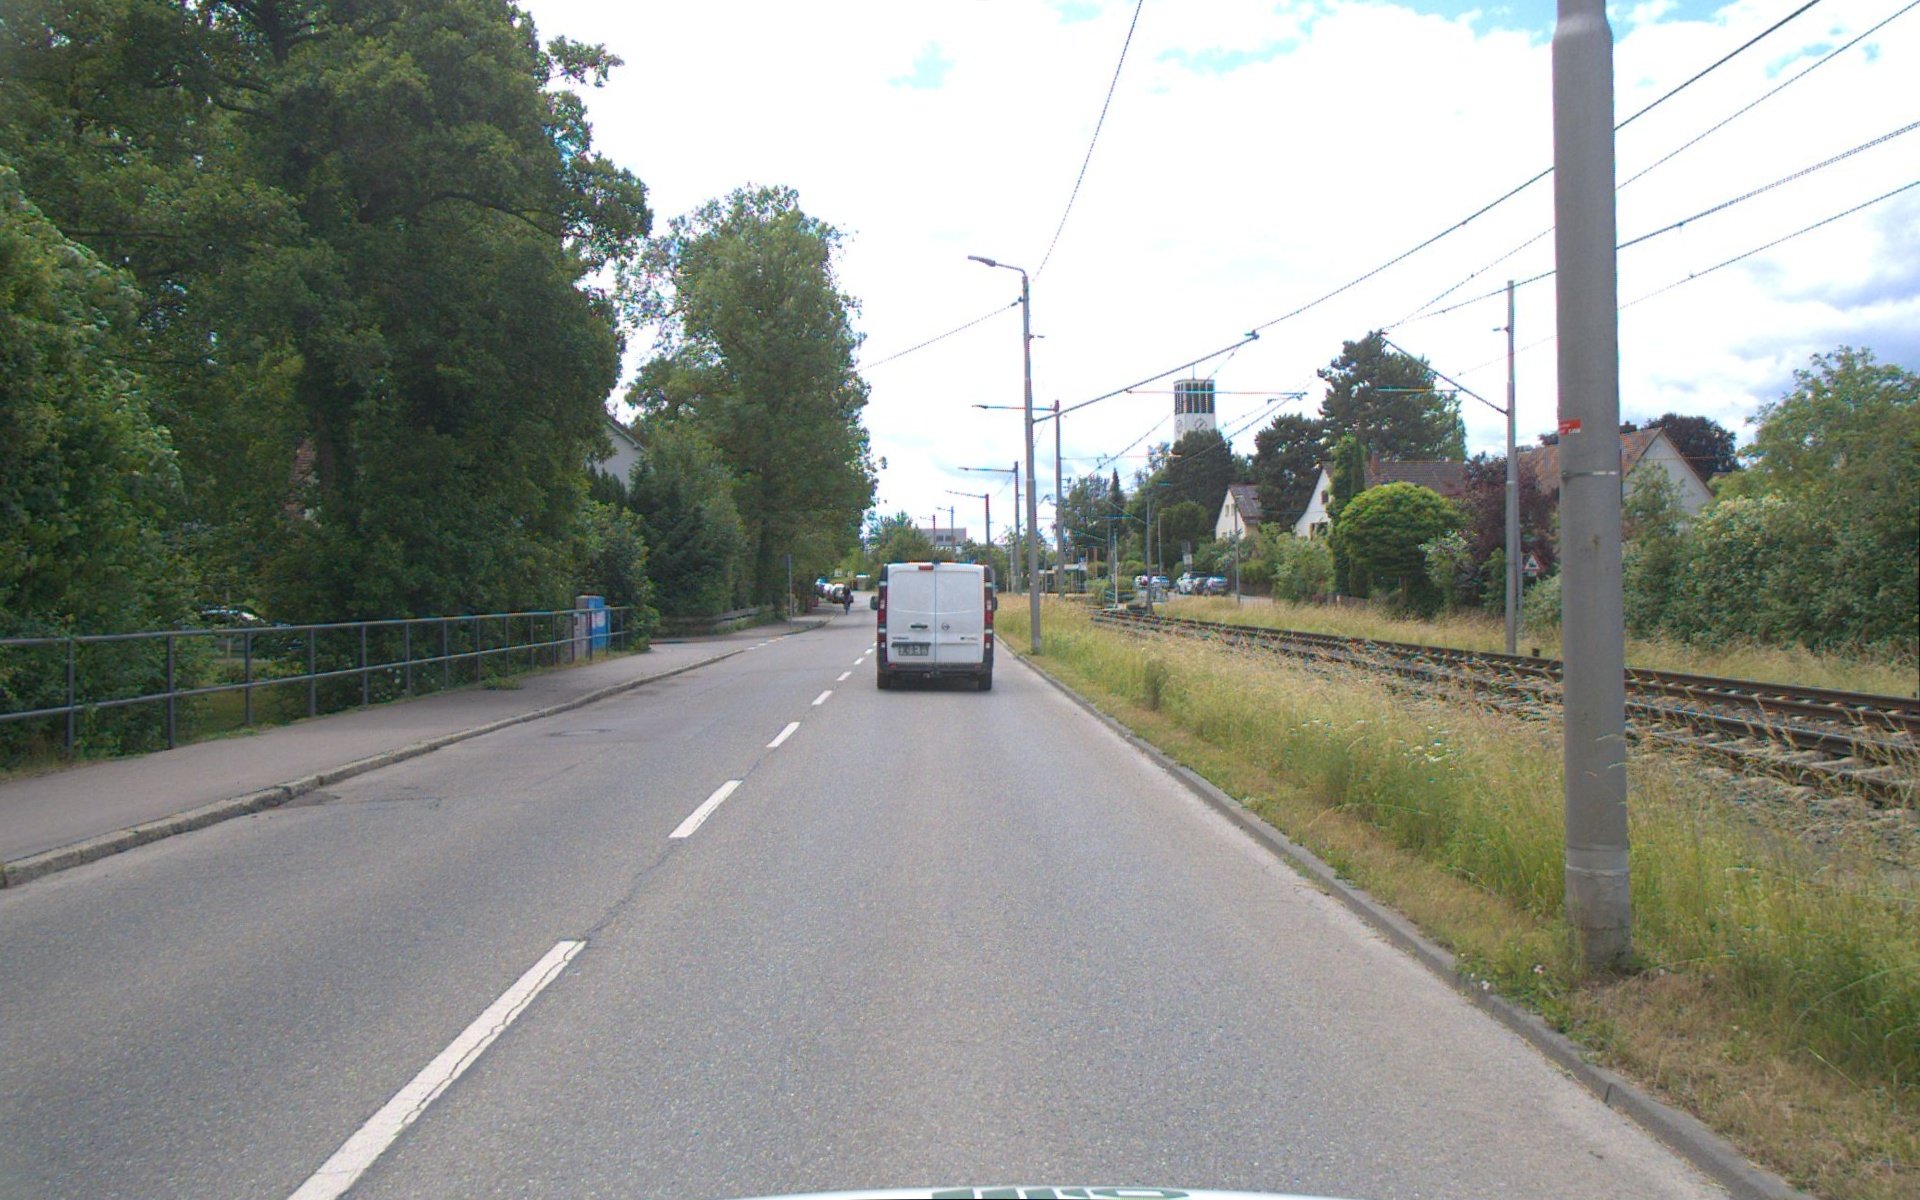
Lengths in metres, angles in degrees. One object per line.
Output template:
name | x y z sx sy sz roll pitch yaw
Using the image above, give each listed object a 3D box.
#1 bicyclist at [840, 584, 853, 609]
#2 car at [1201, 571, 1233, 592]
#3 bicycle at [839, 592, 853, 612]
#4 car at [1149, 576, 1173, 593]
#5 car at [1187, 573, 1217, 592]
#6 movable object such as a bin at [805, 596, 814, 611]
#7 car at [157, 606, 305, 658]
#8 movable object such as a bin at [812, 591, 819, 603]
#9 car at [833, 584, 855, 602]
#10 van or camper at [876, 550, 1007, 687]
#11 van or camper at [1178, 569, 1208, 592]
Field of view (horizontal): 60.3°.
bicyclist | -7.128 -0.215 103.996 0.762 1.576 0.869 -1 0 -2
car | 20.306 -1.450 130.842 1.845 1.548 4.000 -1 1 0
bicycle | -7.139 0.118 103.787 0.740 1.248 2.308 -3 1 -1
car | 19.826 -1.524 163.639 1.845 1.548 4.000 -1 1 0
car | 20.027 -1.441 136.961 1.845 1.548 4.000 -1 1 0
movable object such as a bin | -9.609 0.204 105.670 0.503 0.961 0.568 0 0 -2
car | -23.382 1.025 53.136 3.906 1.544 1.841 -1 0 -1
movable object such as a bin | -11.625 -0.270 133.011 0.455 0.946 0.428 3 -1 -19
car | -10.718 -0.622 152.279 1.704 1.531 4.470 -3 1 -7
van or camper | -0.309 0.273 27.111 1.953 2.049 4.445 0 0 -1
van or camper | 19.922 -1.648 141.654 1.866 1.857 5.047 -1 1 0
